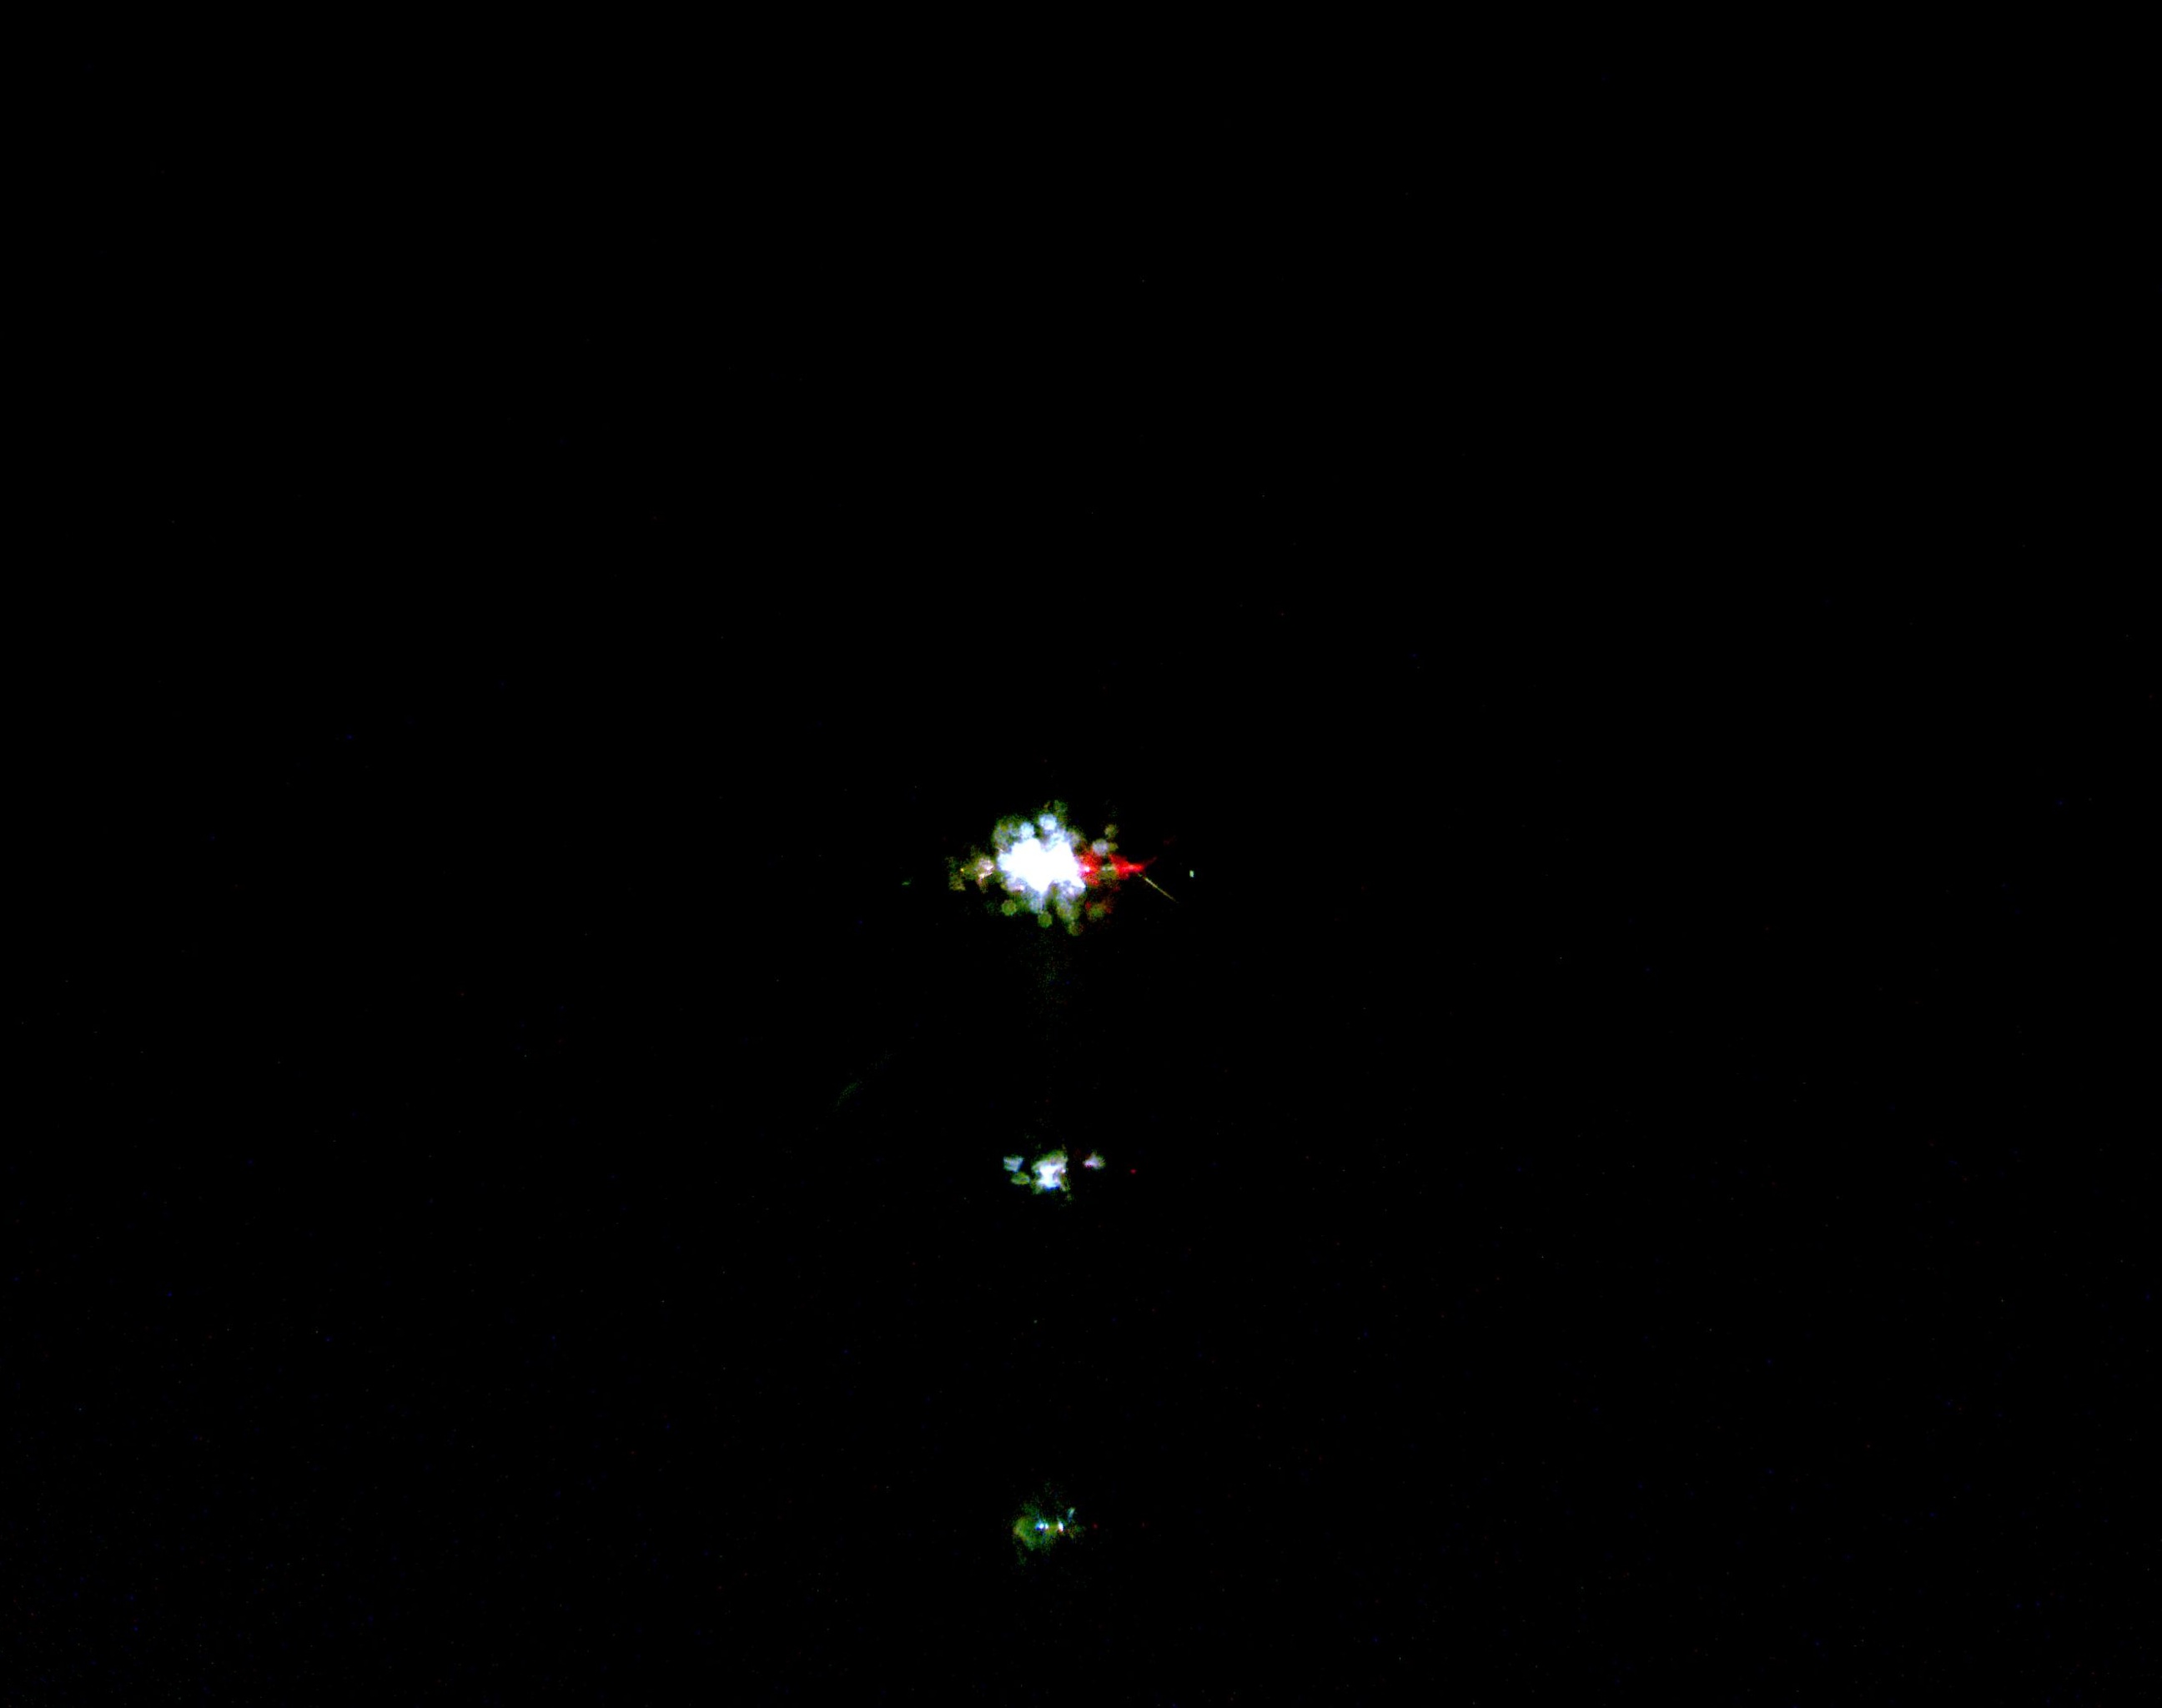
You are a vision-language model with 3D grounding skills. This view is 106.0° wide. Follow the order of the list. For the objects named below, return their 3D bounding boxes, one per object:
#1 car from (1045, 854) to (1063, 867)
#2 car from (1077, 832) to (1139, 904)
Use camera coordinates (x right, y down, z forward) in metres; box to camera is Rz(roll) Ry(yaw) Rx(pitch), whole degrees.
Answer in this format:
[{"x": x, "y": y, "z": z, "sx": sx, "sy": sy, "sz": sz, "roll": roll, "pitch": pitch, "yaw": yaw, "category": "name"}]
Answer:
[{"x": -3.147, "y": 0.755, "z": 95.410, "sx": 1.845, "sy": 1.489, "sz": 3.992, "roll": -2, "pitch": 0, "yaw": 0, "category": "car"}, {"x": 1.042, "y": 0.517, "z": 31.349, "sx": 2.173, "sy": 2.557, "sz": 4.509, "roll": 0, "pitch": -1, "yaw": 2, "category": "car"}]
